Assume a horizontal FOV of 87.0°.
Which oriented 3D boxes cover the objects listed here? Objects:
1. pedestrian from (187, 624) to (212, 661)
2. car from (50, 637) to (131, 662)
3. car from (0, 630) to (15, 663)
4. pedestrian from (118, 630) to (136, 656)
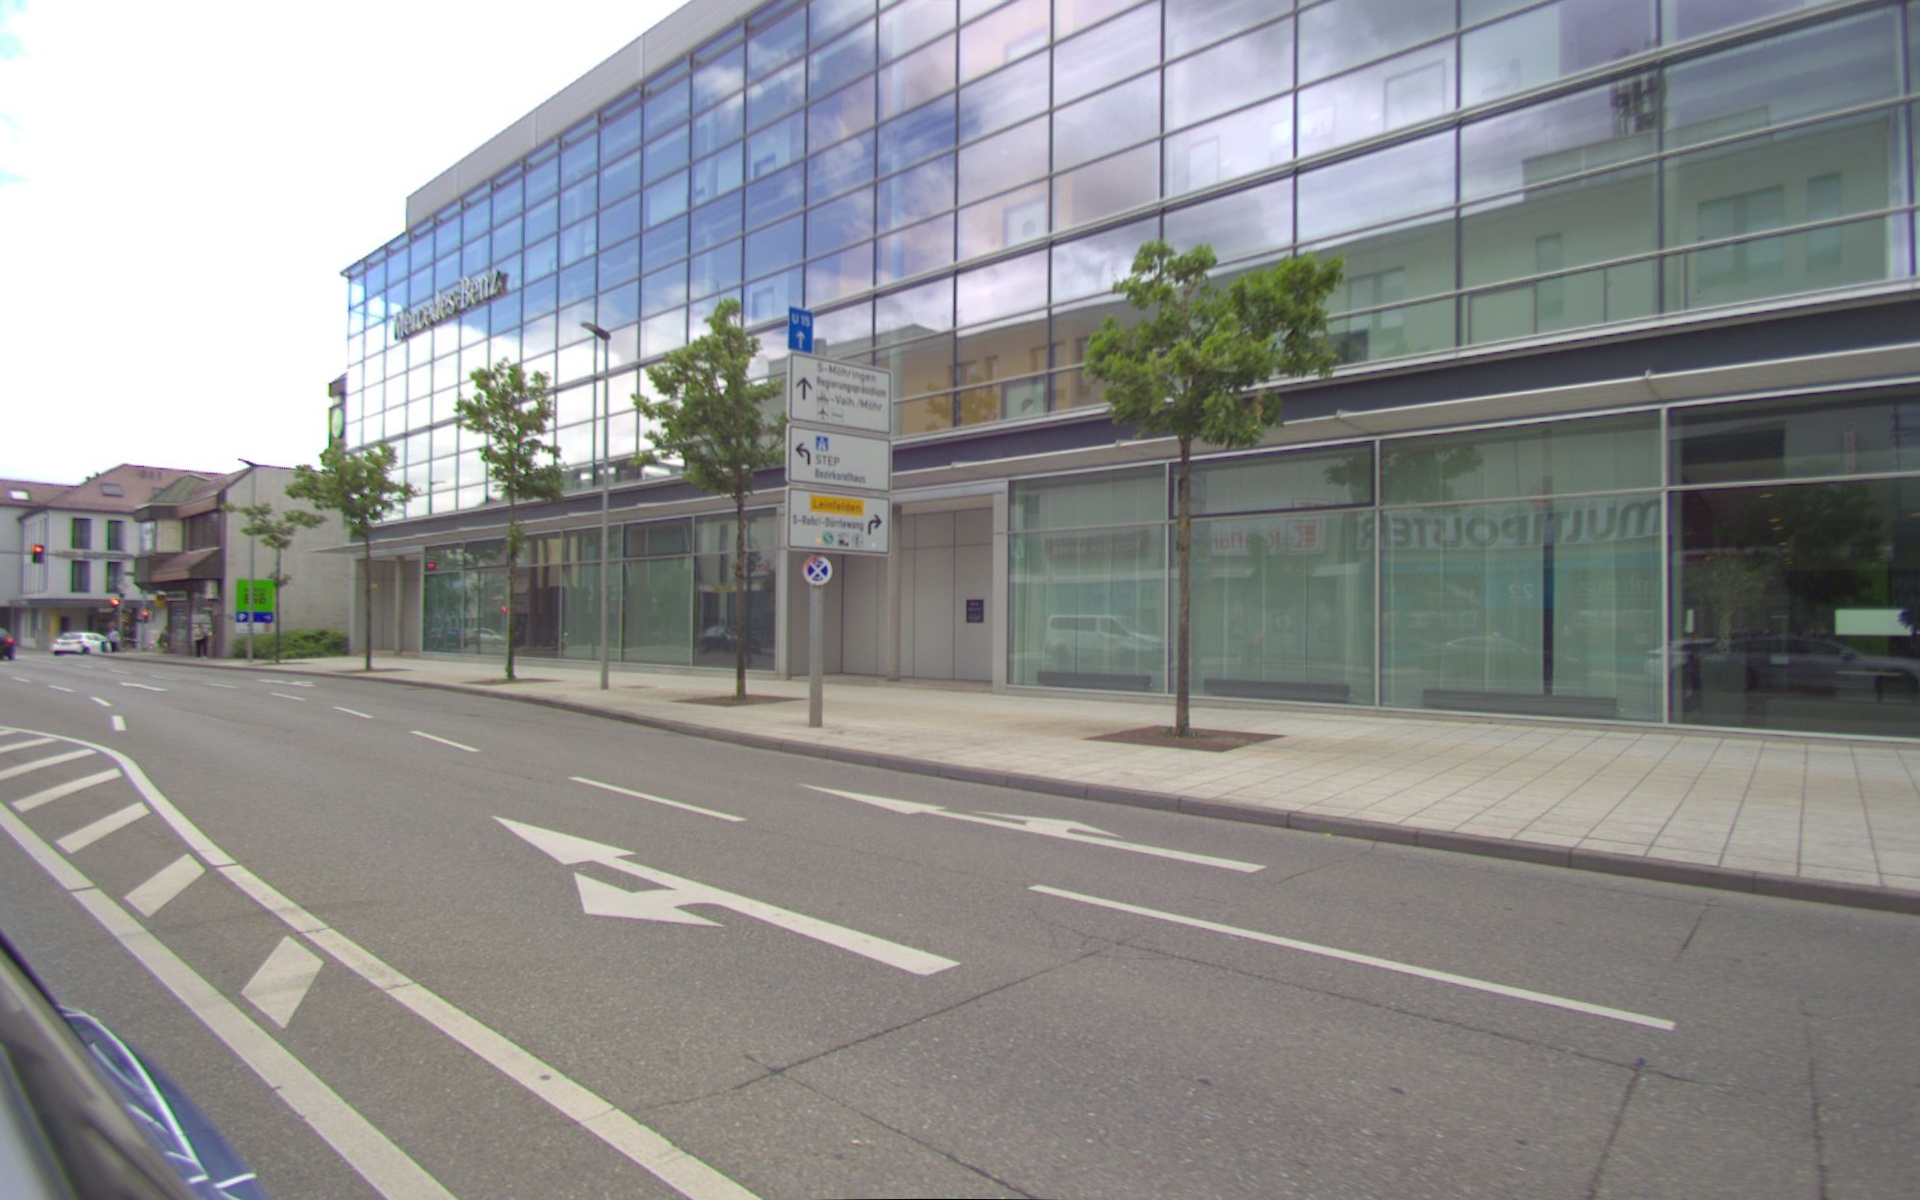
[{"bbox_3d":[-33.600,1.882,44.715,0.693,1.636,0.693,-2,-3,40],"label":"pedestrian"},{"bbox_3d":[-53.942,3.035,62.875,1.908,1.478,4.006,0,-2,-7],"label":"car"},{"bbox_3d":[-45.142,2.133,46.525,3.993,1.478,1.781,-1,-3,37],"label":"car"},{"bbox_3d":[-49.578,2.553,60.241,0.577,1.527,0.552,0,-2,8],"label":"pedestrian"}]
